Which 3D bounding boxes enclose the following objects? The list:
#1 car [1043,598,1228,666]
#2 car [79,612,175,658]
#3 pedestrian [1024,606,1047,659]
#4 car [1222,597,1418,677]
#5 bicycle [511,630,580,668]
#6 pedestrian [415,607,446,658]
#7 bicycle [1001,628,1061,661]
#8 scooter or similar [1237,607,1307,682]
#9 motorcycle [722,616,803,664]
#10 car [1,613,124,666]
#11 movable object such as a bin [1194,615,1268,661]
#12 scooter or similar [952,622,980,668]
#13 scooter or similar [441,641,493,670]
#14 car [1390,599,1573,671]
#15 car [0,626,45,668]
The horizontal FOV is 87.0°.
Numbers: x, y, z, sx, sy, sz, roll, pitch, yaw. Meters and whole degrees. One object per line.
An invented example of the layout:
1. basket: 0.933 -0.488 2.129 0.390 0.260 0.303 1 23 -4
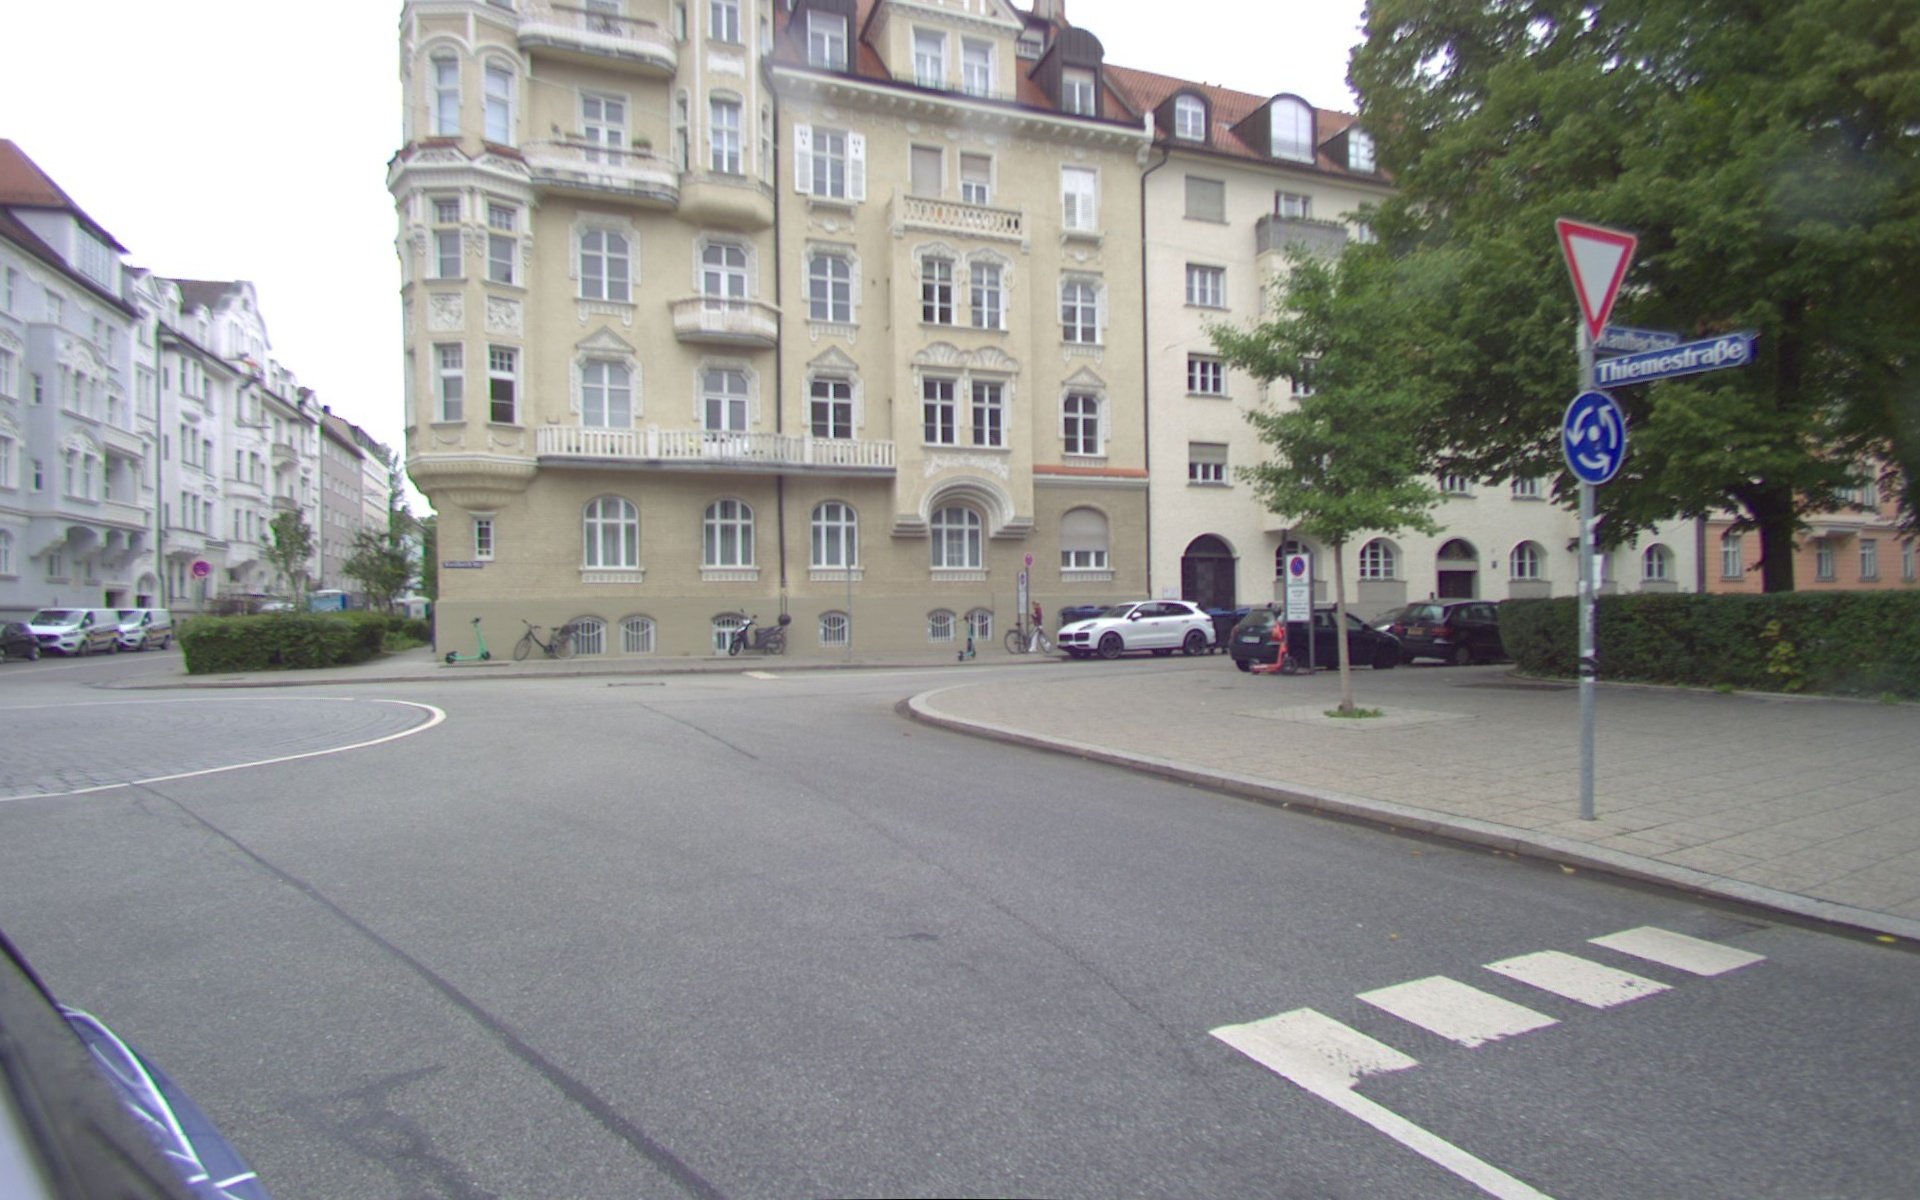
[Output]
1. car: 5.177 0.887 29.856 4.943 1.880 2.173 0 0 -21
2. car: -38.506 1.558 46.929 2.019 1.953 4.591 0 0 -20
3. pedestrian: 2.419 1.020 32.336 0.597 1.677 0.464 0 0 -15
4. car: 7.843 0.777 21.994 4.029 1.602 1.596 0 -2 -25
5. bicycle: -11.476 1.344 28.055 1.754 0.999 0.545 0 0 -24
6. pedestrian: -19.054 1.161 36.430 0.738 1.806 0.700 0 0 7
7. bicycle: 2.161 1.352 30.828 1.780 0.964 0.469 0 0 -18
8. scooter or similar: 6.051 0.855 19.617 1.101 1.398 0.794 -3 -1 30
9. motorcycle: -5.843 1.158 29.955 2.207 1.336 0.826 0 0 -23
10. car: -36.276 1.520 41.097 2.122 1.927 4.788 0 0 -20
11. movable object such as a bin: 8.461 1.172 31.738 1.848 1.383 1.566 0 0 -2
12. scooter or similar: 0.176 1.248 28.424 0.406 1.239 1.270 0 0 19
13. scooter or similar: -13.174 1.473 27.059 0.316 0.692 1.217 0 0 41
14. car: 12.484 0.798 24.227 4.029 1.602 1.596 0 0 -21
15. car: -34.100 1.641 35.729 1.417 1.369 3.369 0 0 -18
